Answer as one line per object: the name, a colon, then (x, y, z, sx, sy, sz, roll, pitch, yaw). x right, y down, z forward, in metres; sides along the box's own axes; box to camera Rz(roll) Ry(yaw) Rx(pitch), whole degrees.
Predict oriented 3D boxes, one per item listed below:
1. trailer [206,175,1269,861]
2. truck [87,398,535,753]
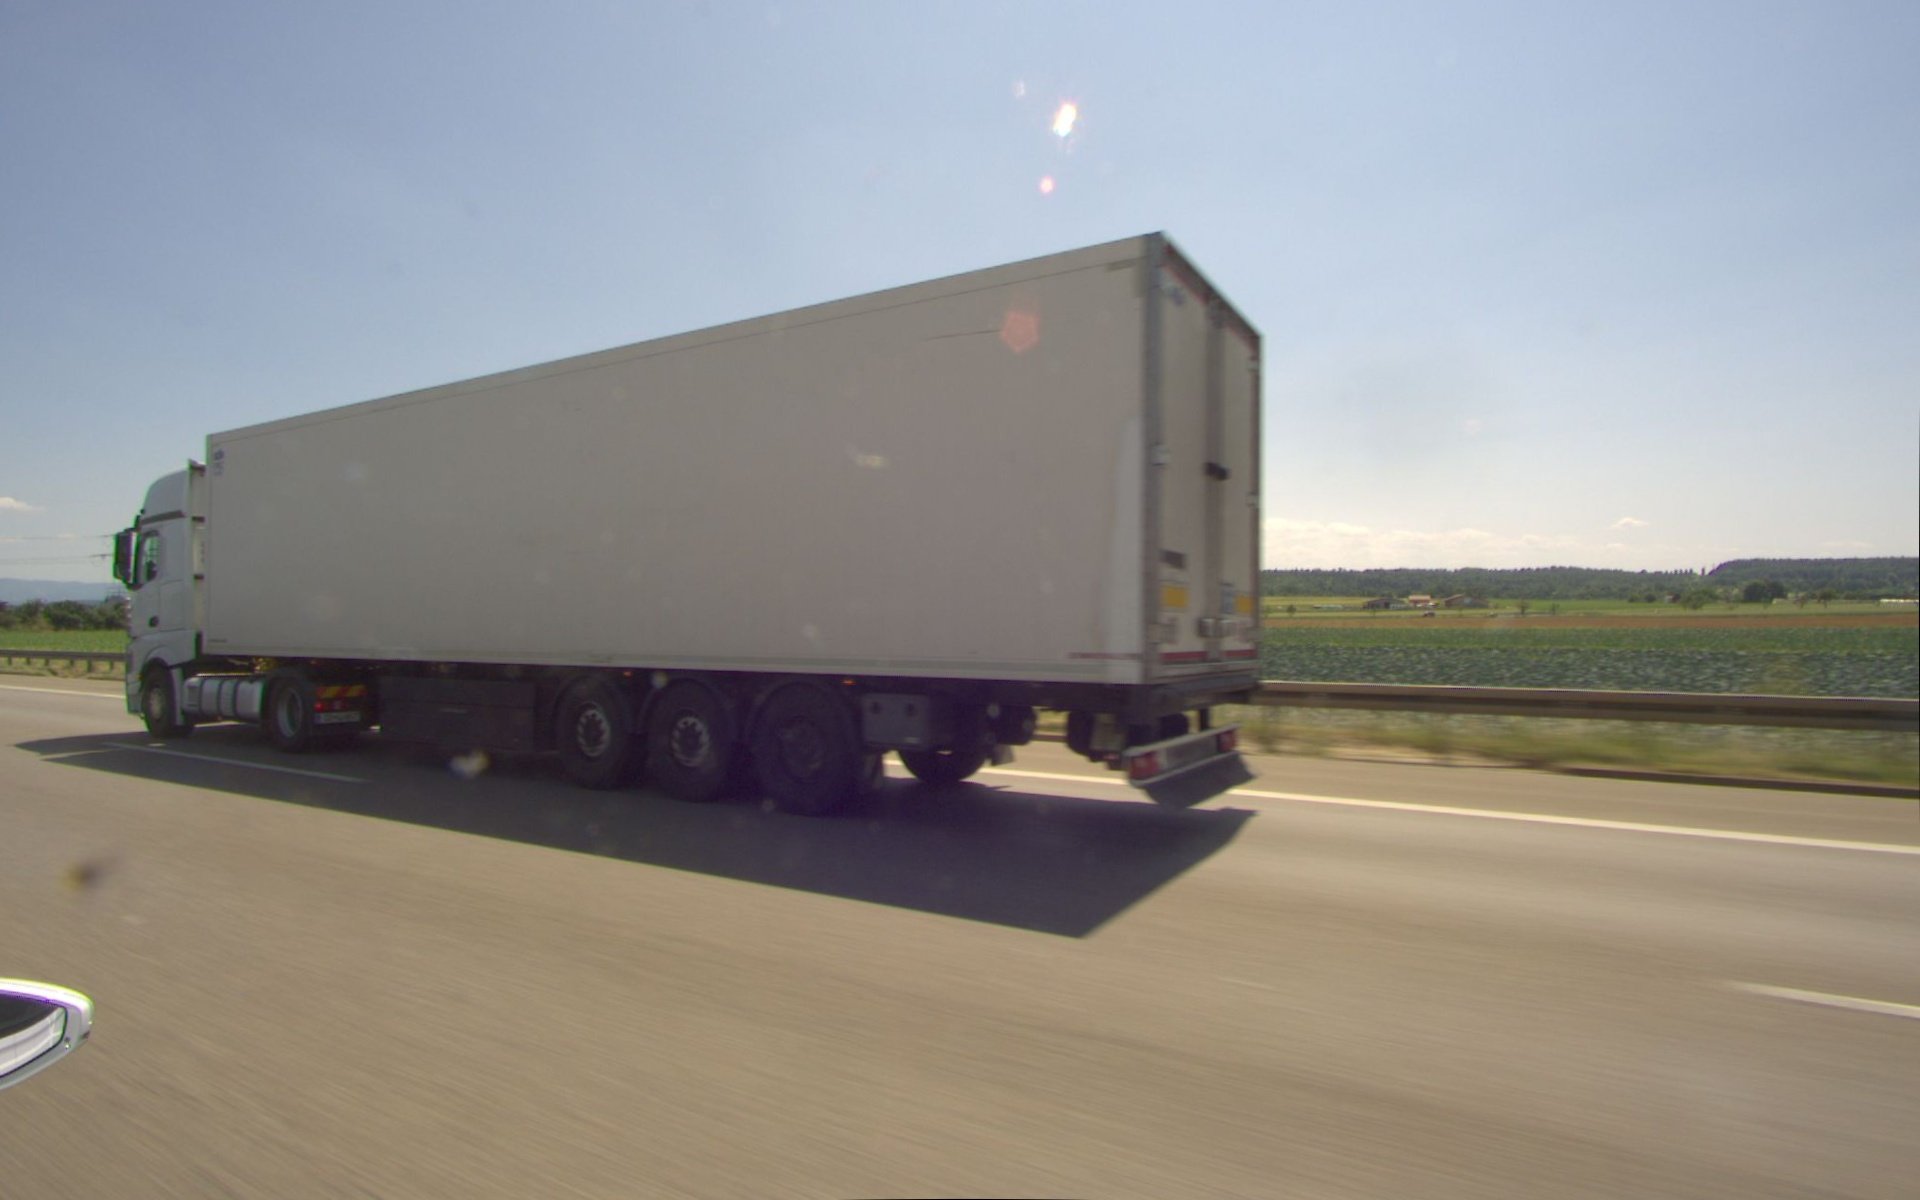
trailer: (-3.614, -0.360, 10.936, 13.104, 4.273, 2.863, -1, -2, 32)
truck: (-9.641, -0.182, 14.701, 6.780, 4.143, 2.859, -1, -2, 32)
